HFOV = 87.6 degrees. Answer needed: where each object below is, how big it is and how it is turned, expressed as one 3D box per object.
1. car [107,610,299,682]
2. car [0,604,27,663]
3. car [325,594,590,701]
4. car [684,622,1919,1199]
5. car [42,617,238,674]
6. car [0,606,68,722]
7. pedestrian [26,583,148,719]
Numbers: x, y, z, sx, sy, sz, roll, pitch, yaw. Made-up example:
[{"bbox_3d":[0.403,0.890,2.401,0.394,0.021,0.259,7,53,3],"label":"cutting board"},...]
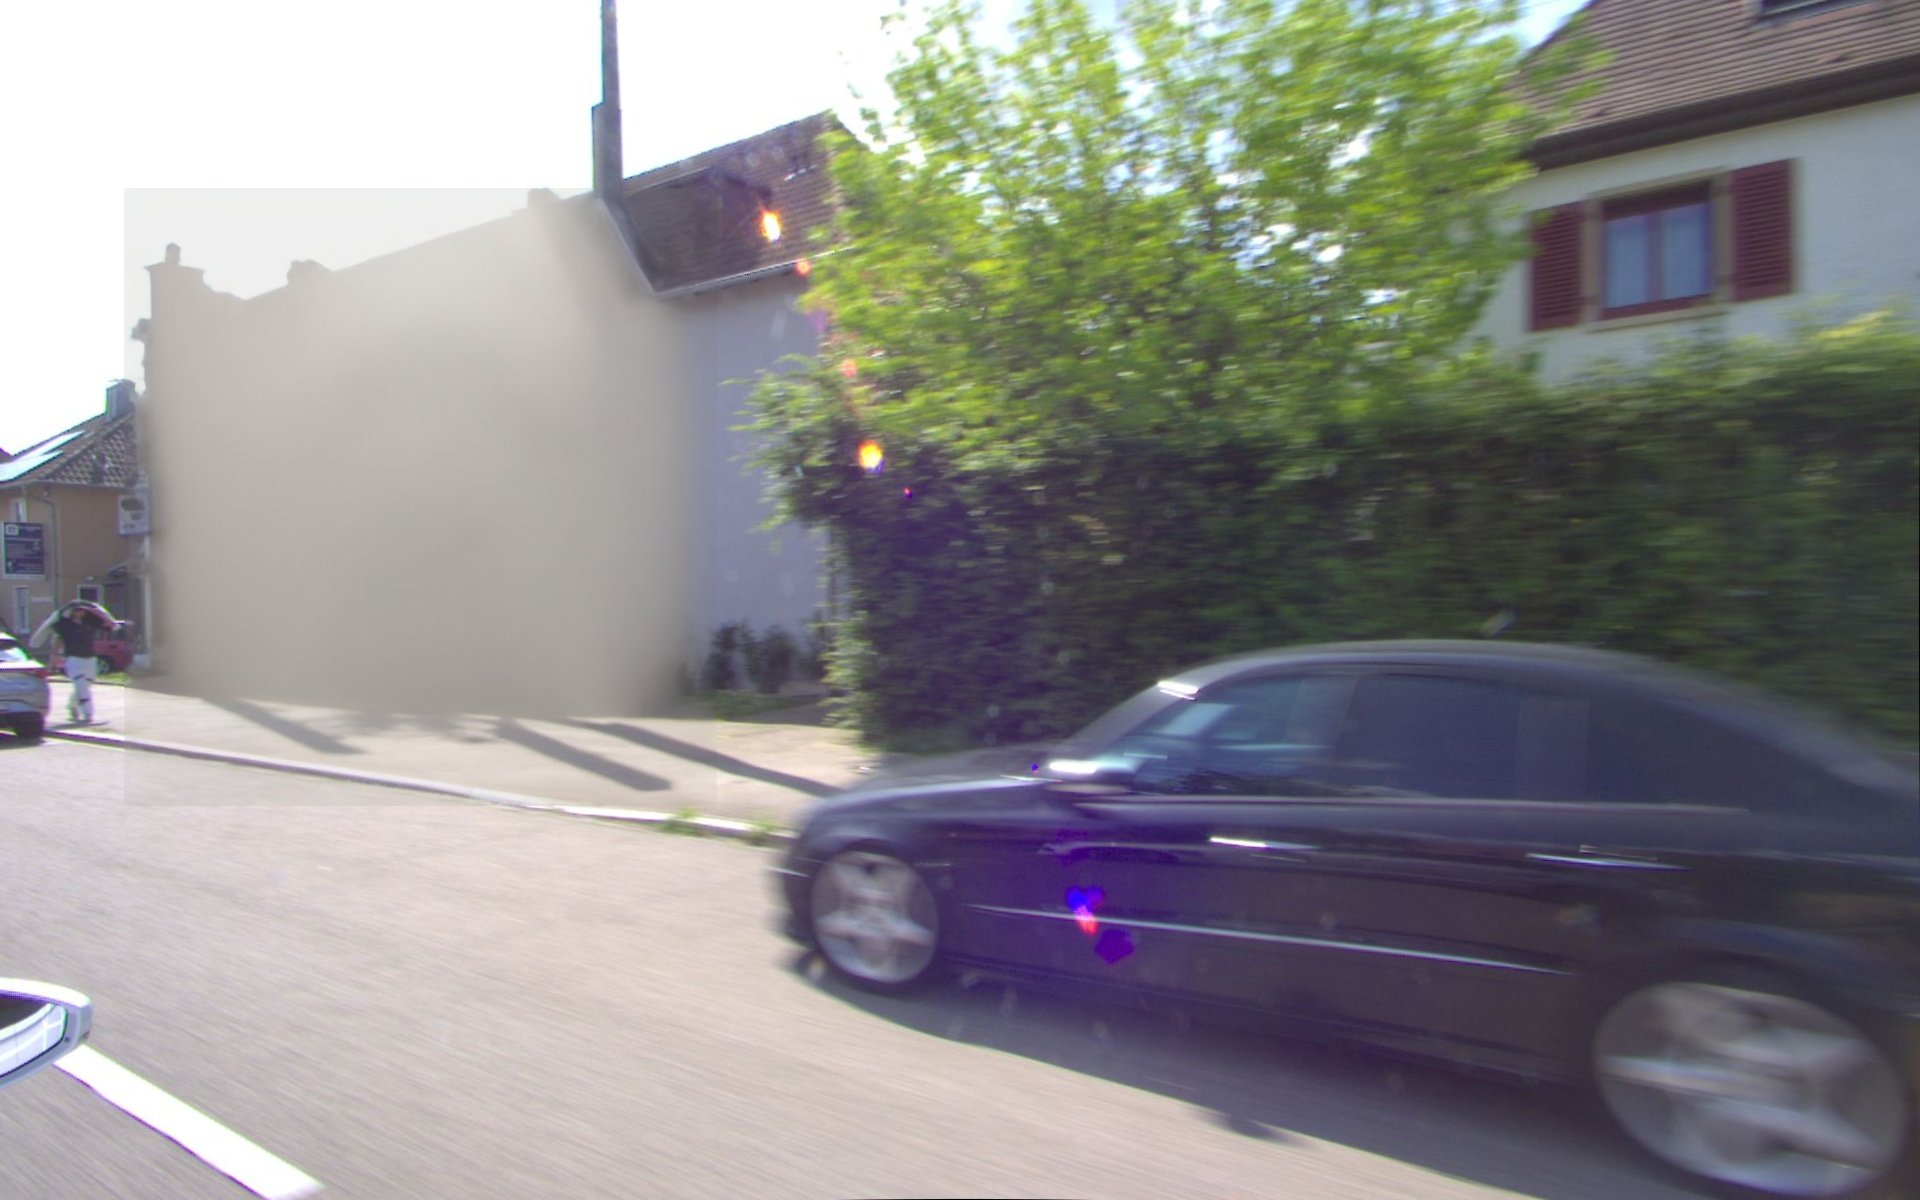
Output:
[{"bbox_3d":[-17.178,0.990,22.663,4.786,1.442,1.795,-1,0,31],"label":"car"},{"bbox_3d":[-30.786,1.036,30.688,4.790,1.735,1.833,0,2,30],"label":"car"},{"bbox_3d":[-8.824,0.787,17.503,4.696,1.669,1.755,-1,0,29],"label":"car"},{"bbox_3d":[1.372,0.836,3.935,4.985,1.462,1.897,0,-2,32],"label":"car"},{"bbox_3d":[-21.562,1.156,26.460,1.700,1.398,3.646,-1,-1,28],"label":"car"},{"bbox_3d":[-14.225,0.855,13.730,4.578,1.472,1.811,-2,-2,33],"label":"car"},{"bbox_3d":[-13.295,0.751,15.269,1.076,1.971,1.110,-1,0,31],"label":"pedestrian"}]
